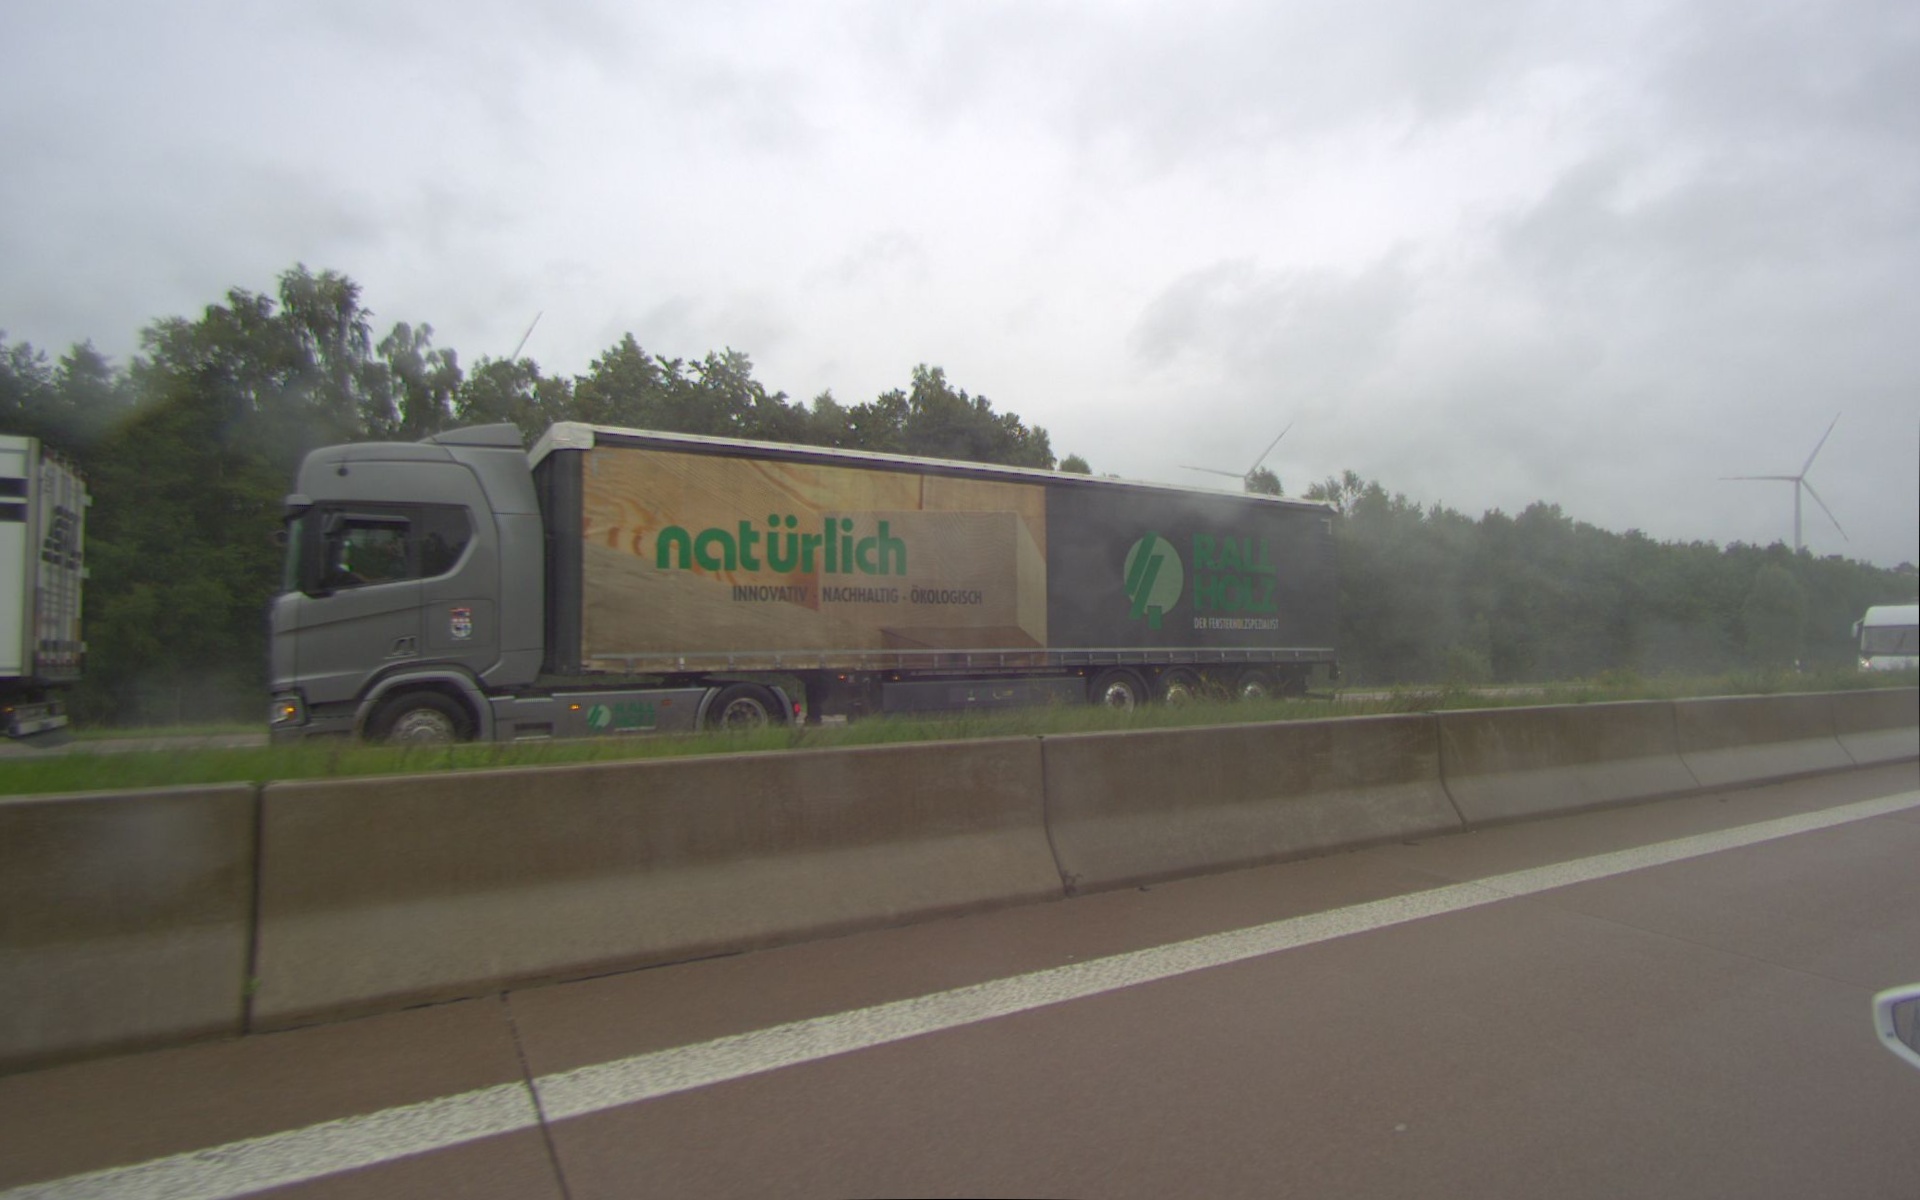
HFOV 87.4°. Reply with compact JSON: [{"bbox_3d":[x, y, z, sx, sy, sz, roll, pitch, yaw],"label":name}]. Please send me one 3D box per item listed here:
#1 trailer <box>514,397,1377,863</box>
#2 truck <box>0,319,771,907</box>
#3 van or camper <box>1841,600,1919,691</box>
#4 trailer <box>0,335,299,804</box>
[{"bbox_3d":[0.630,0.475,16.467,14.077,5.127,3.969,2,0,-32],"label":"trailer"},{"bbox_3d":[-7.127,0.162,11.684,8.850,5.081,3.905,2,0,-31],"label":"truck"},{"bbox_3d":[28.334,1.273,28.880,6.417,2.437,2.776,1,-2,-32],"label":"van or camper"},{"bbox_3d":[-15.866,-0.472,11.031,14.072,5.513,3.413,2,0,-31],"label":"trailer"}]
